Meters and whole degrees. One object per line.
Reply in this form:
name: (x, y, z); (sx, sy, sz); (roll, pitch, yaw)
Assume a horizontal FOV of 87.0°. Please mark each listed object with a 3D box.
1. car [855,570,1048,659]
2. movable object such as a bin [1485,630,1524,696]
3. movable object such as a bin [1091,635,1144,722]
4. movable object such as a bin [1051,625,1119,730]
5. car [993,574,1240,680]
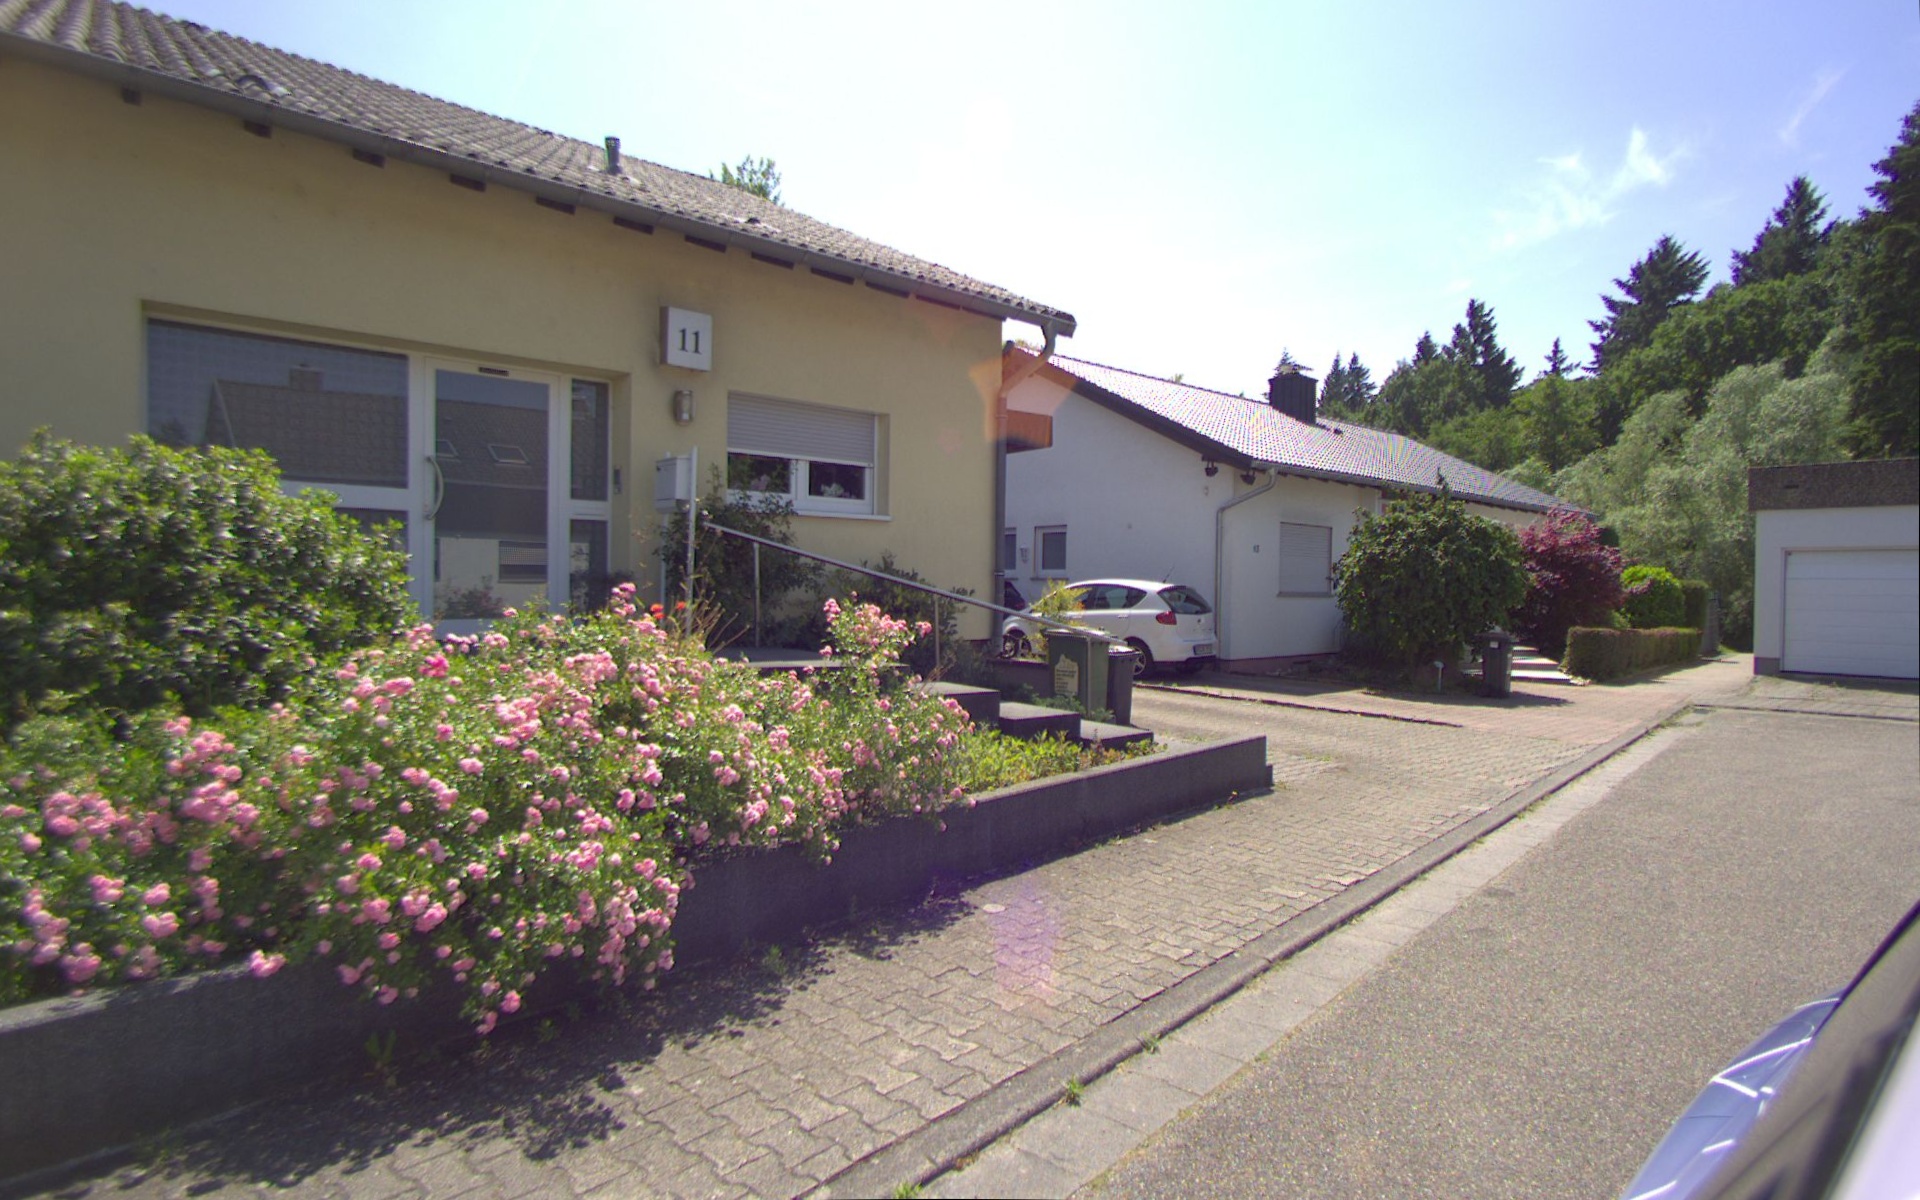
car: (-0.269, 0.212, 20.967); (1.895, 1.627, 3.995); (-1, 2, -40)
movable object such as a bin: (7.825, 0.893, 14.544); (0.369, 0.902, 0.390); (-1, 1, -42)
movable object such as a bin: (1.739, 0.858, 11.177); (0.425, 0.902, 0.401); (1, 1, 42)
movable object such as a bin: (1.342, 0.811, 10.841); (0.490, 1.054, 0.584); (1, 1, 42)
car: (2.585, 0.372, 17.432); (1.723, 1.588, 3.991); (0, 1, -44)
